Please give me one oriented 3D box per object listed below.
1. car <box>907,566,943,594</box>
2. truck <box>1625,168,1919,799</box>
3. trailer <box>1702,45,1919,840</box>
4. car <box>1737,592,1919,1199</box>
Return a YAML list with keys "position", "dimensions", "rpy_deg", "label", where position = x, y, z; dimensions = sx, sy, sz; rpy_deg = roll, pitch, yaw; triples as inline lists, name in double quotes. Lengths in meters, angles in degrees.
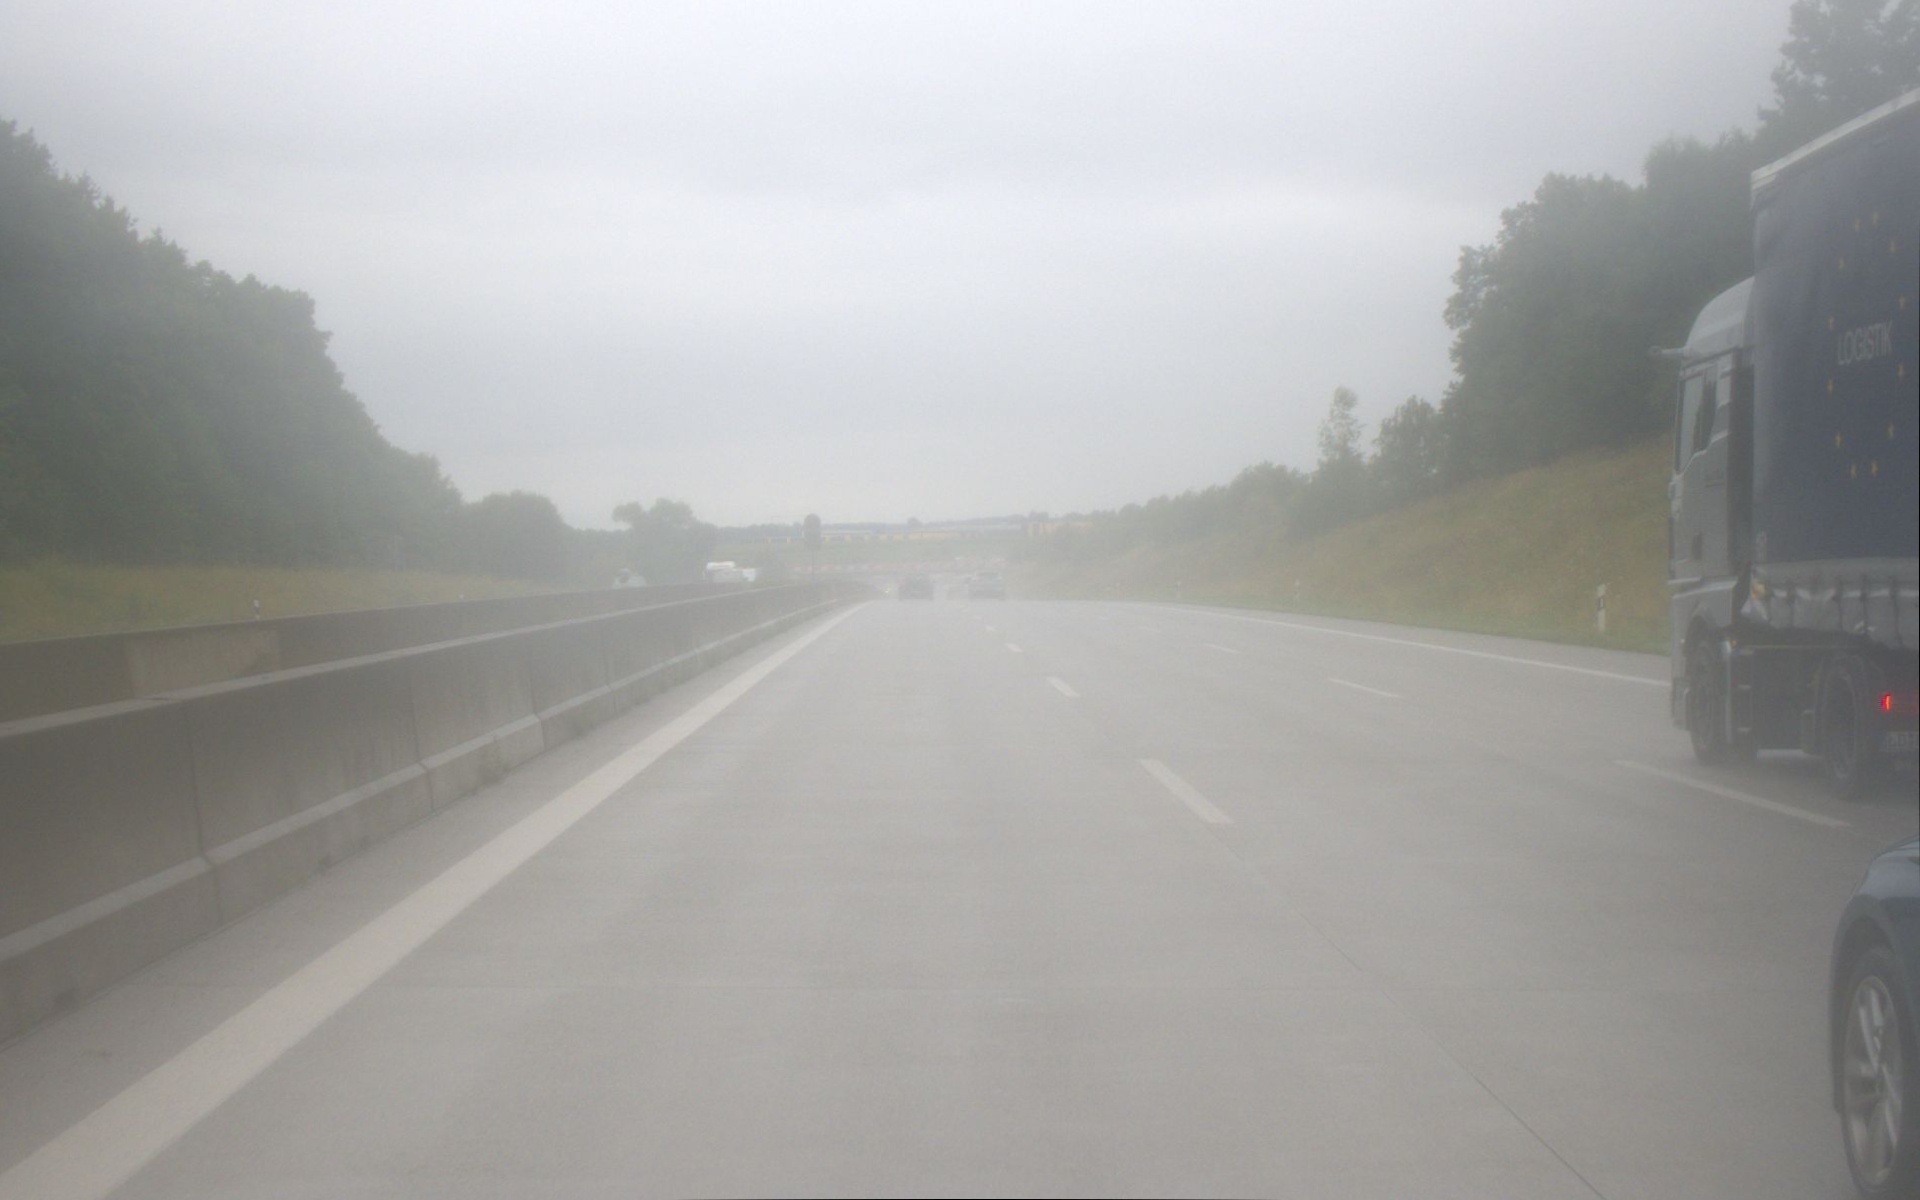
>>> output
- position: [-1.712, -0.994, 169.336]
  dimensions: [1.729, 1.326, 4.430]
  rpy_deg: [0, 1, -1]
  label: "car"
- position: [6.595, -0.761, 24.364]
  dimensions: [2.636, 3.940, 5.686]
  rpy_deg: [1, 1, 0]
  label: "truck"
- position: [6.623, -0.827, 16.544]
  dimensions: [2.706, 4.364, 15.205]
  rpy_deg: [1, 1, 0]
  label: "trailer"
- position: [2.902, 0.705, 6.518]
  dimensions: [1.729, 1.454, 4.672]
  rpy_deg: [-1, 0, -1]
  label: "car"
